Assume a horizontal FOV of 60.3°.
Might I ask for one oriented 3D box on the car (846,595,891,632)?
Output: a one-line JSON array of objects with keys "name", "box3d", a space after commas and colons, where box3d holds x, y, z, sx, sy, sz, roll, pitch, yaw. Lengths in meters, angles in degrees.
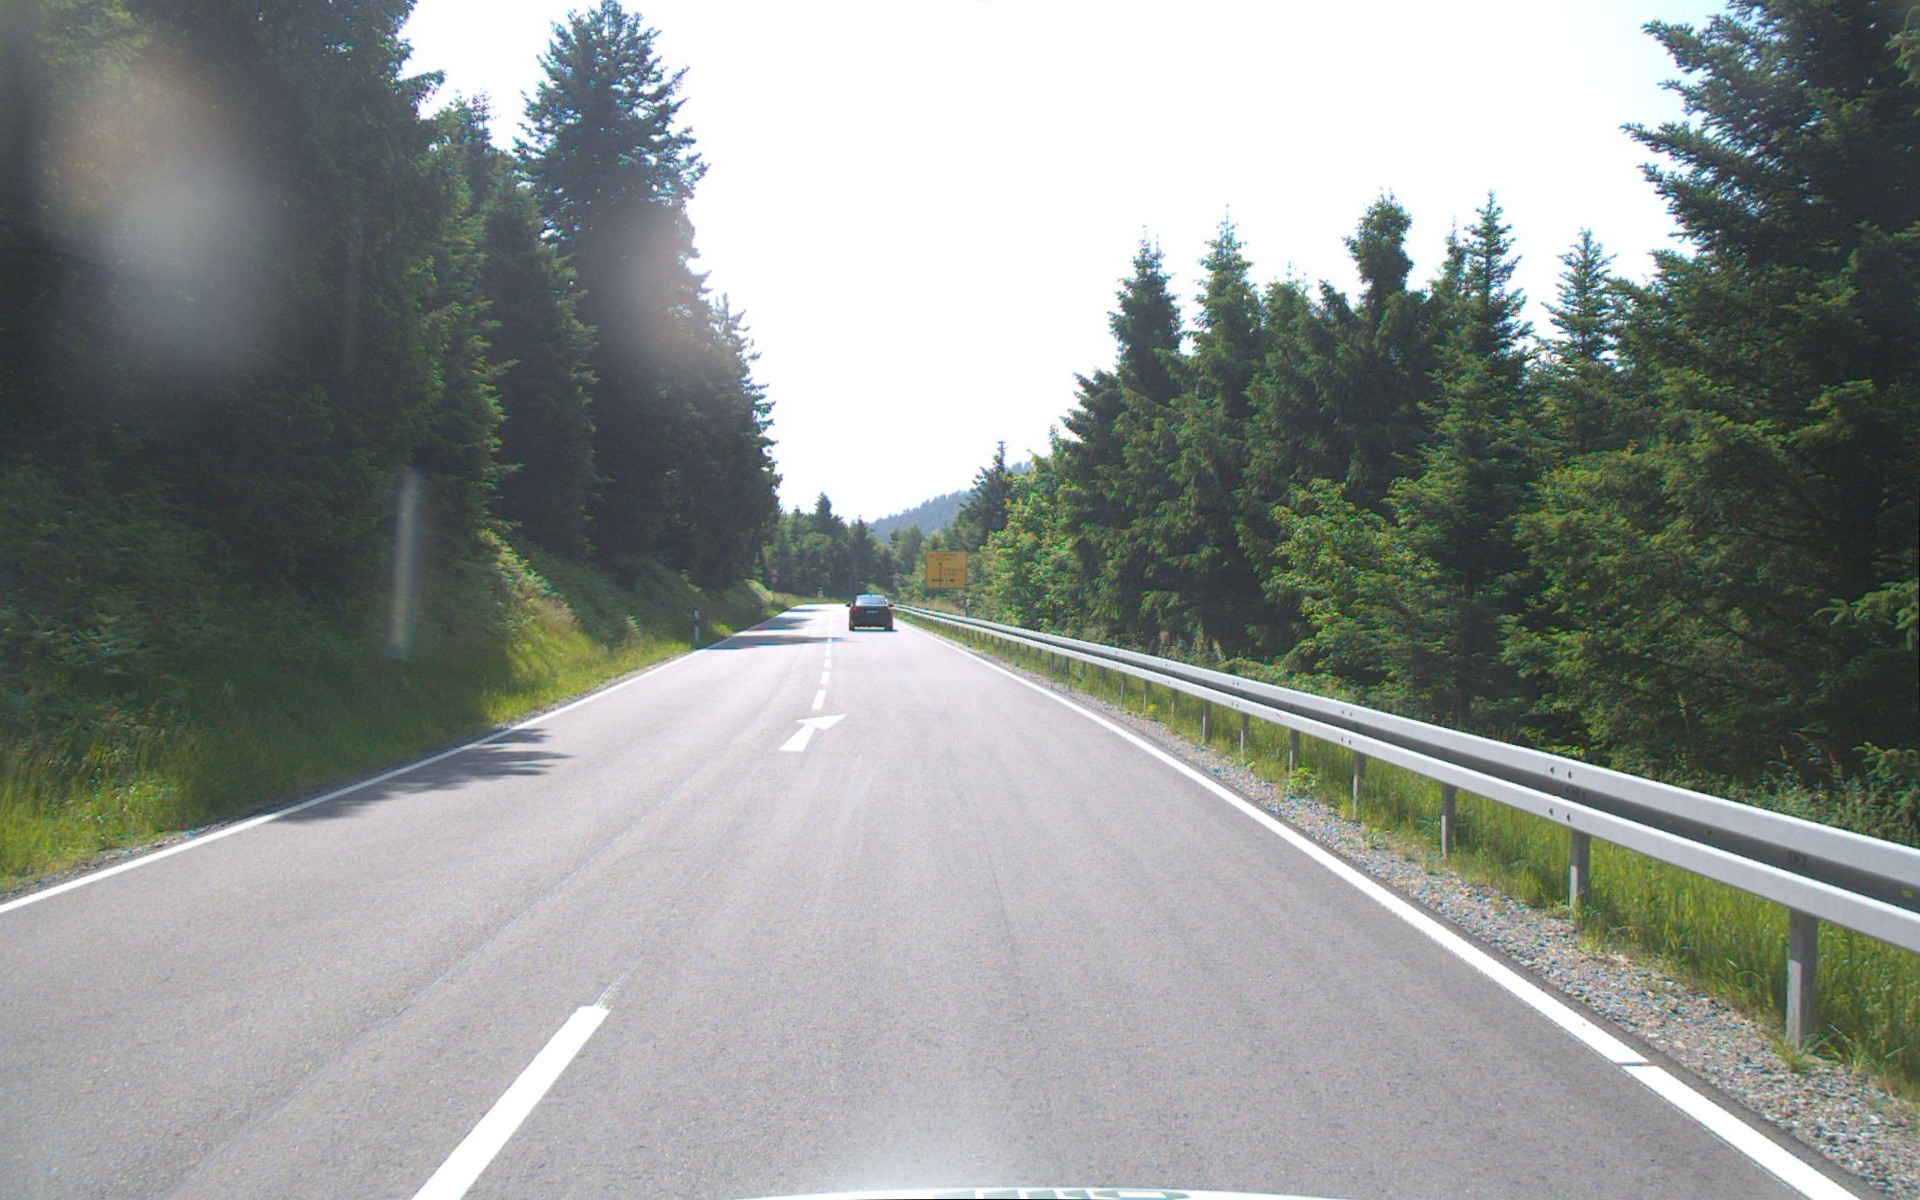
[{"name": "car", "box3d": [-3.720, 0.542, 67.705, 1.740, 1.467, 3.707, -1, 0, -2]}]
